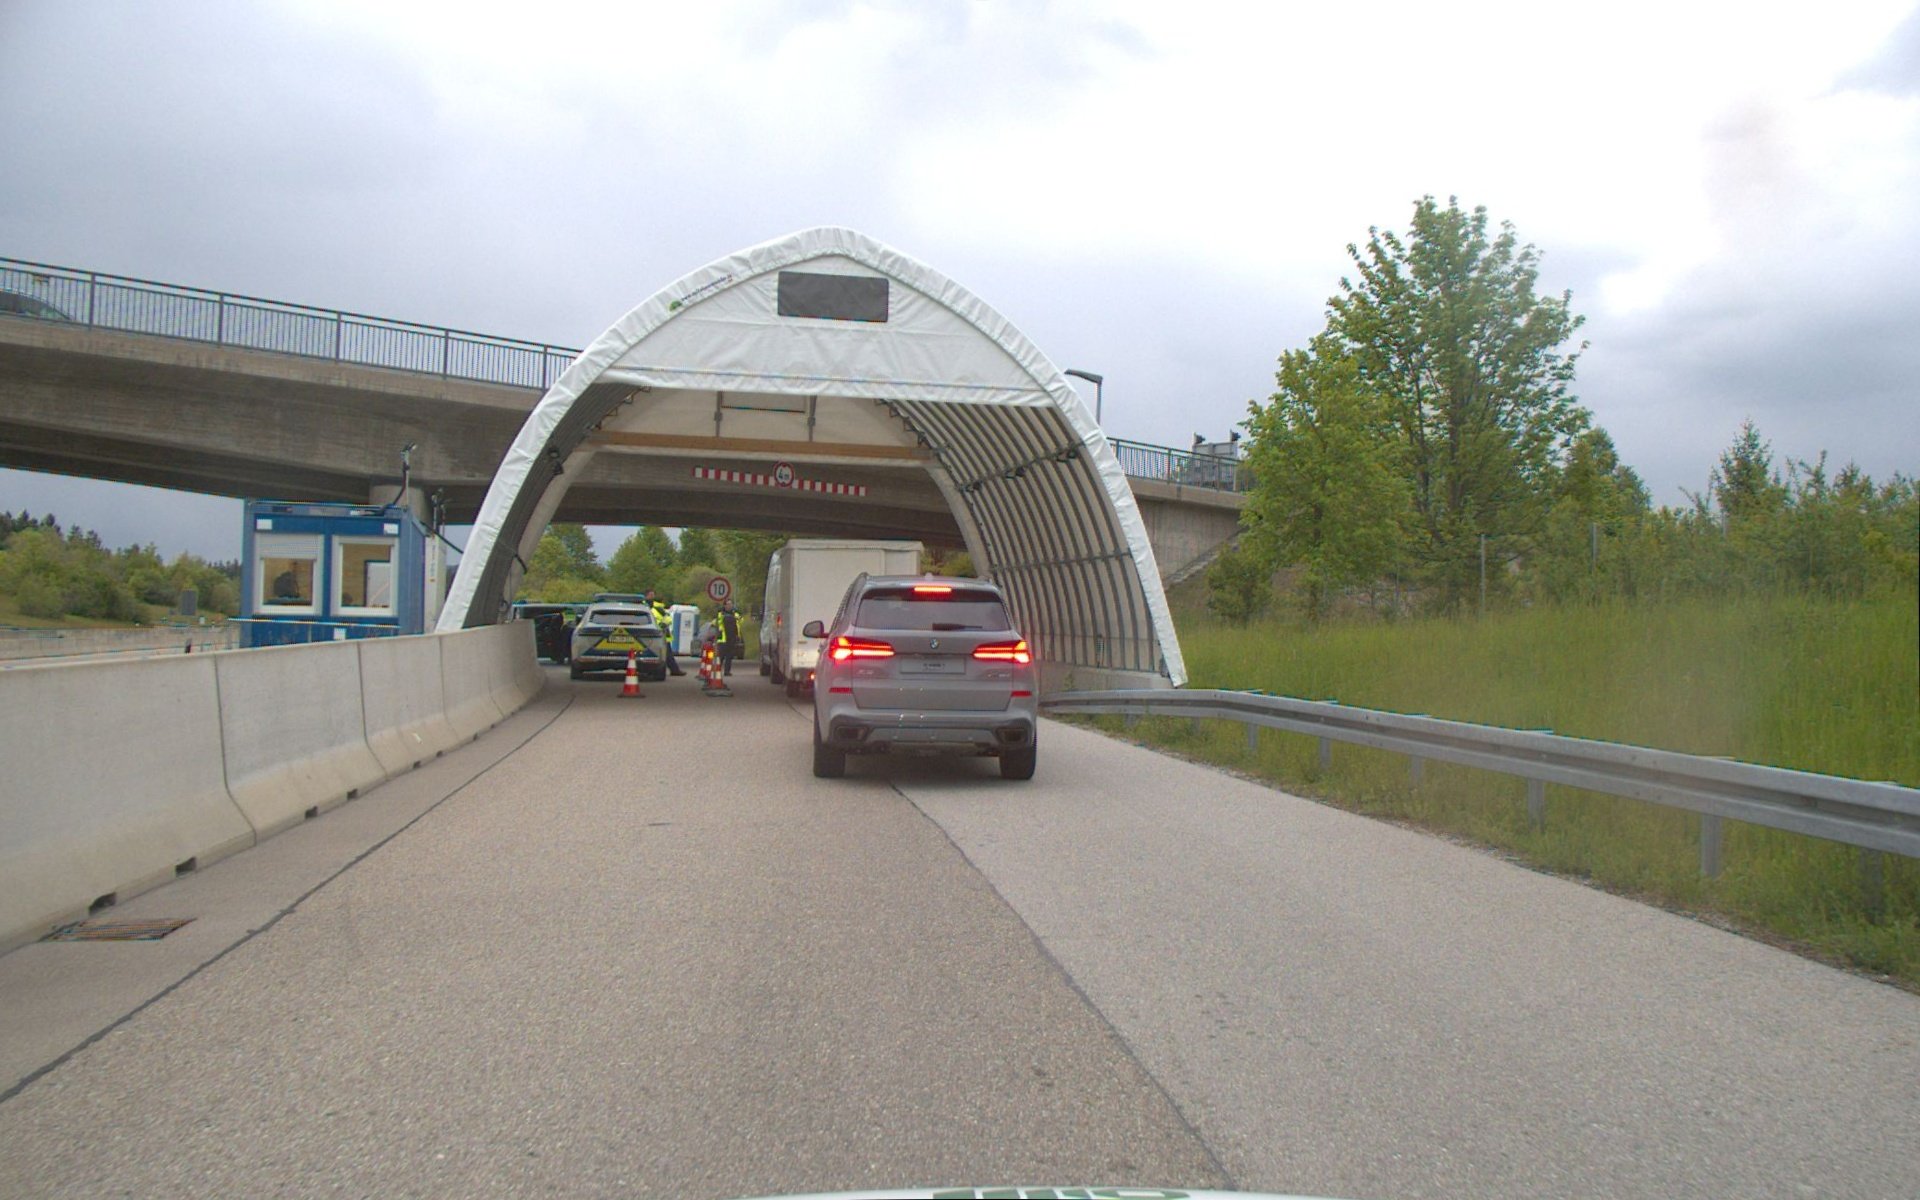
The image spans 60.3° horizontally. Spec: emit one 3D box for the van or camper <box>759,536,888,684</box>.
[{"bbox_3d":[-2.949,0.268,34.563,2.118,2.812,5.856,1,-2,-10],"label":"van or camper"}]

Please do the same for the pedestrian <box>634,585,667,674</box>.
[{"bbox_3d":[-6.950,0.666,37.131,0.707,1.980,0.688,0,-1,-11],"label":"pedestrian"}]

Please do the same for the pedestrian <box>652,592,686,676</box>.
[{"bbox_3d":[-6.342,0.746,36.083,0.707,1.807,0.688,0,-1,-11],"label":"pedestrian"}]

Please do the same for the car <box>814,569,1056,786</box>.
[{"bbox_3d":[-0.354,0.670,15.456,1.954,1.750,3.996,1,-1,-5],"label":"car"}]

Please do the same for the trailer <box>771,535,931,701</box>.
[{"bbox_3d":[-2.011,0.359,28.246,2.236,2.473,6.804,1,-2,-8],"label":"trailer"}]

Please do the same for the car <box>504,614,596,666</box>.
[{"bbox_3d":[-12.150,1.167,48.962,1.503,1.467,3.272,1,-1,-37],"label":"car"}]

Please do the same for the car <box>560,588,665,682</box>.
[{"bbox_3d":[-7.051,0.691,33.630,1.958,1.803,3.754,0,-1,-12],"label":"car"}]

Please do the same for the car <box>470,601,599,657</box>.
[{"bbox_3d":[-14.381,0.977,56.026,3.903,1.886,1.710,0,-1,4],"label":"car"}]

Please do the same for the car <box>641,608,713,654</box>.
[{"bbox_3d":[-12.846,1.389,74.921,1.973,2.049,3.958,1,-1,-31],"label":"car"}]

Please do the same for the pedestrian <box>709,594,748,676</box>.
[{"bbox_3d":[-5.158,0.778,36.841,0.596,1.807,0.645,-1,-1,44],"label":"pedestrian"}]

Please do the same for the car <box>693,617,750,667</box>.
[{"bbox_3d":[-9.457,1.635,65.465,1.676,1.886,3.981,0,-1,-17],"label":"car"}]
